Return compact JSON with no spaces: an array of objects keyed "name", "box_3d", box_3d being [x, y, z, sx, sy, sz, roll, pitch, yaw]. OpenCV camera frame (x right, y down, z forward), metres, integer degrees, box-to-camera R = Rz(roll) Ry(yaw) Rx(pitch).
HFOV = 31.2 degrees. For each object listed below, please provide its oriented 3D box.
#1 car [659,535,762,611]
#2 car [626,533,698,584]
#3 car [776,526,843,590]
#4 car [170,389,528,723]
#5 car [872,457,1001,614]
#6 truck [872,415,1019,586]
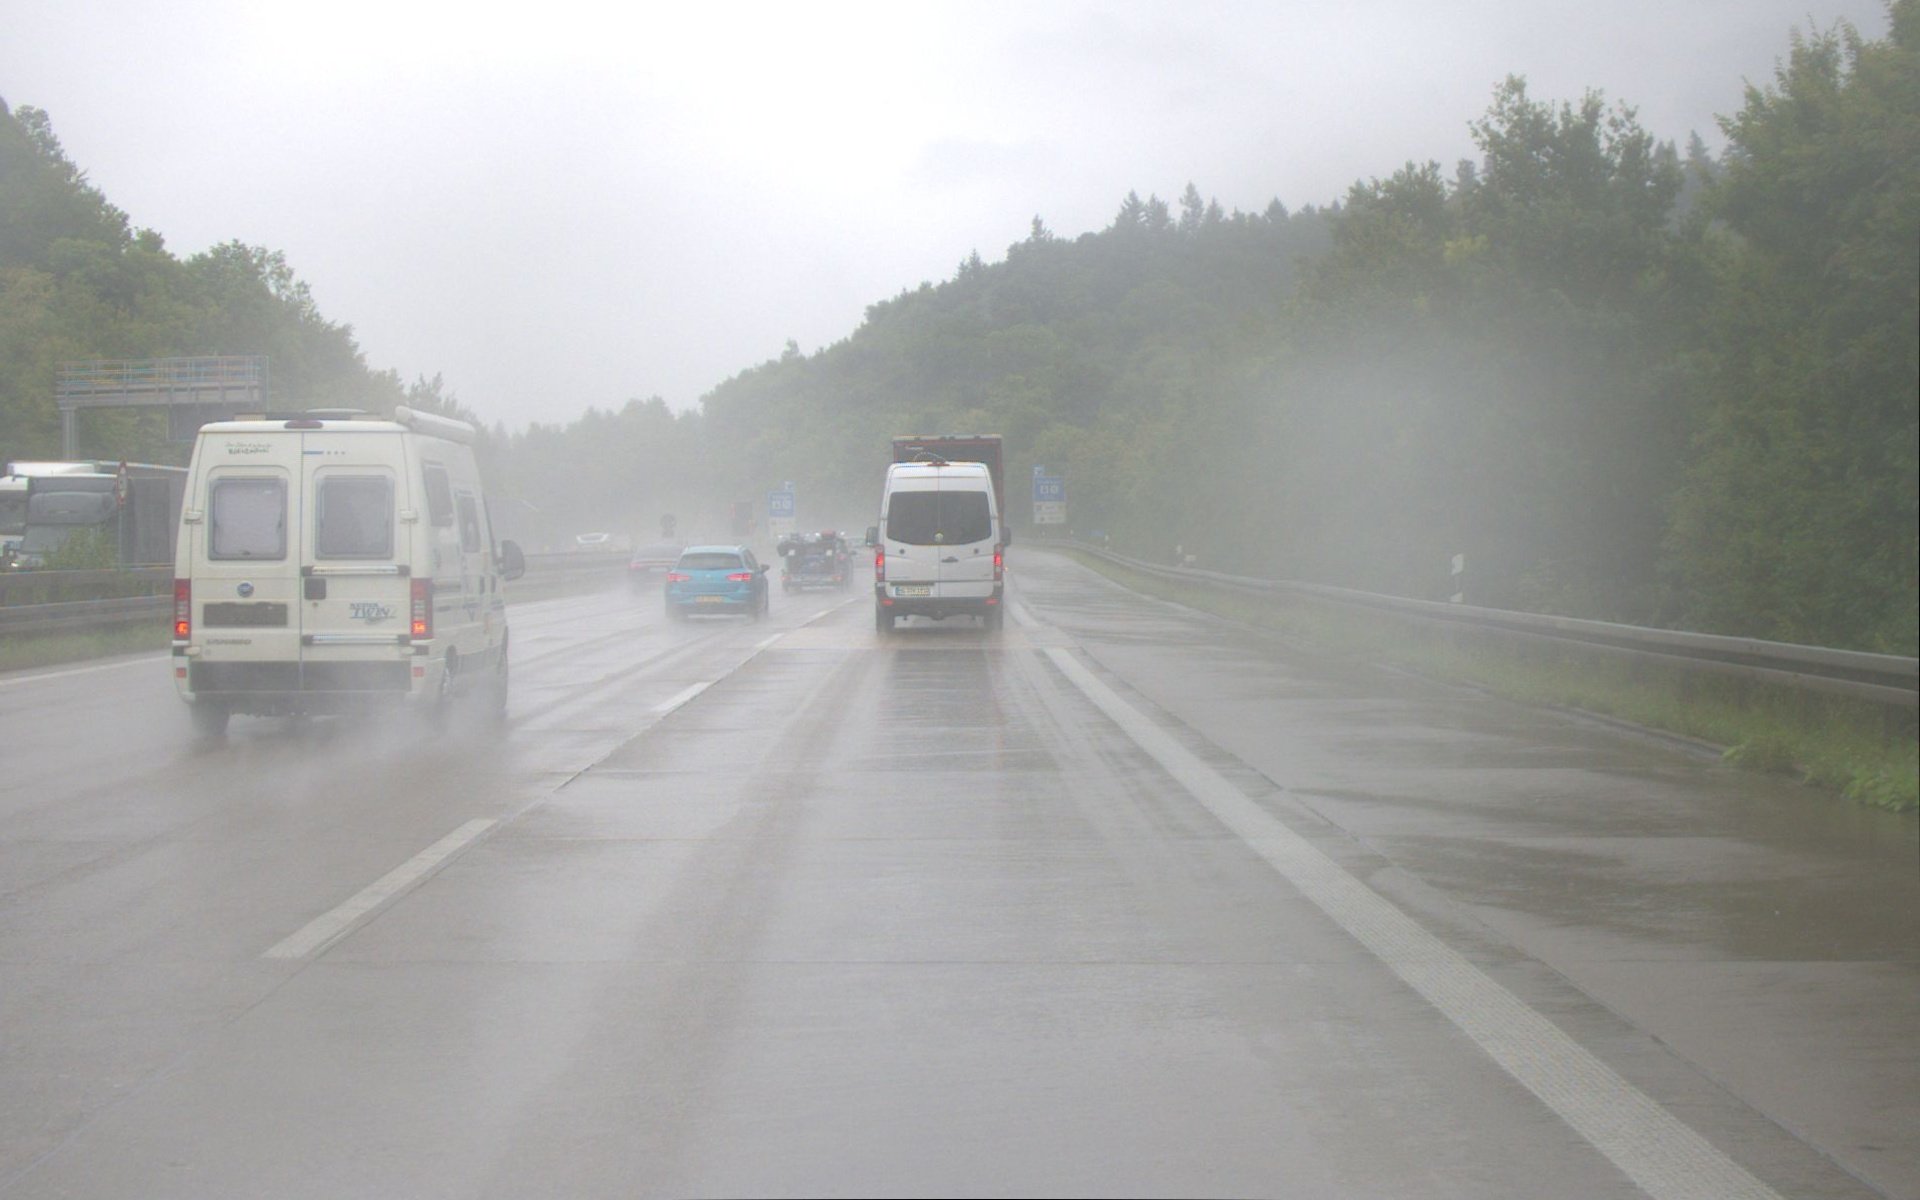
[{"name":"car","box_3d":[-4.679,-0.535,64.861,1.856,1.334,4.352,1,1,-3]},{"name":"car","box_3d":[-8.368,-1.181,96.734,1.856,1.334,4.352,1,1,-3]},{"name":"car","box_3d":[-4.412,-1.258,101.416,1.868,1.804,4.189,1,1,-1]},{"name":"car","box_3d":[-4.871,-0.381,28.246,1.997,2.423,5.791,1,1,-1]},{"name":"car","box_3d":[-0.421,-1.029,54.483,1.899,2.326,5.251,1,1,-1]},{"name":"truck","box_3d":[-0.389,-2.560,85.223,3.385,3.954,8.668,1,3,-1]}]
